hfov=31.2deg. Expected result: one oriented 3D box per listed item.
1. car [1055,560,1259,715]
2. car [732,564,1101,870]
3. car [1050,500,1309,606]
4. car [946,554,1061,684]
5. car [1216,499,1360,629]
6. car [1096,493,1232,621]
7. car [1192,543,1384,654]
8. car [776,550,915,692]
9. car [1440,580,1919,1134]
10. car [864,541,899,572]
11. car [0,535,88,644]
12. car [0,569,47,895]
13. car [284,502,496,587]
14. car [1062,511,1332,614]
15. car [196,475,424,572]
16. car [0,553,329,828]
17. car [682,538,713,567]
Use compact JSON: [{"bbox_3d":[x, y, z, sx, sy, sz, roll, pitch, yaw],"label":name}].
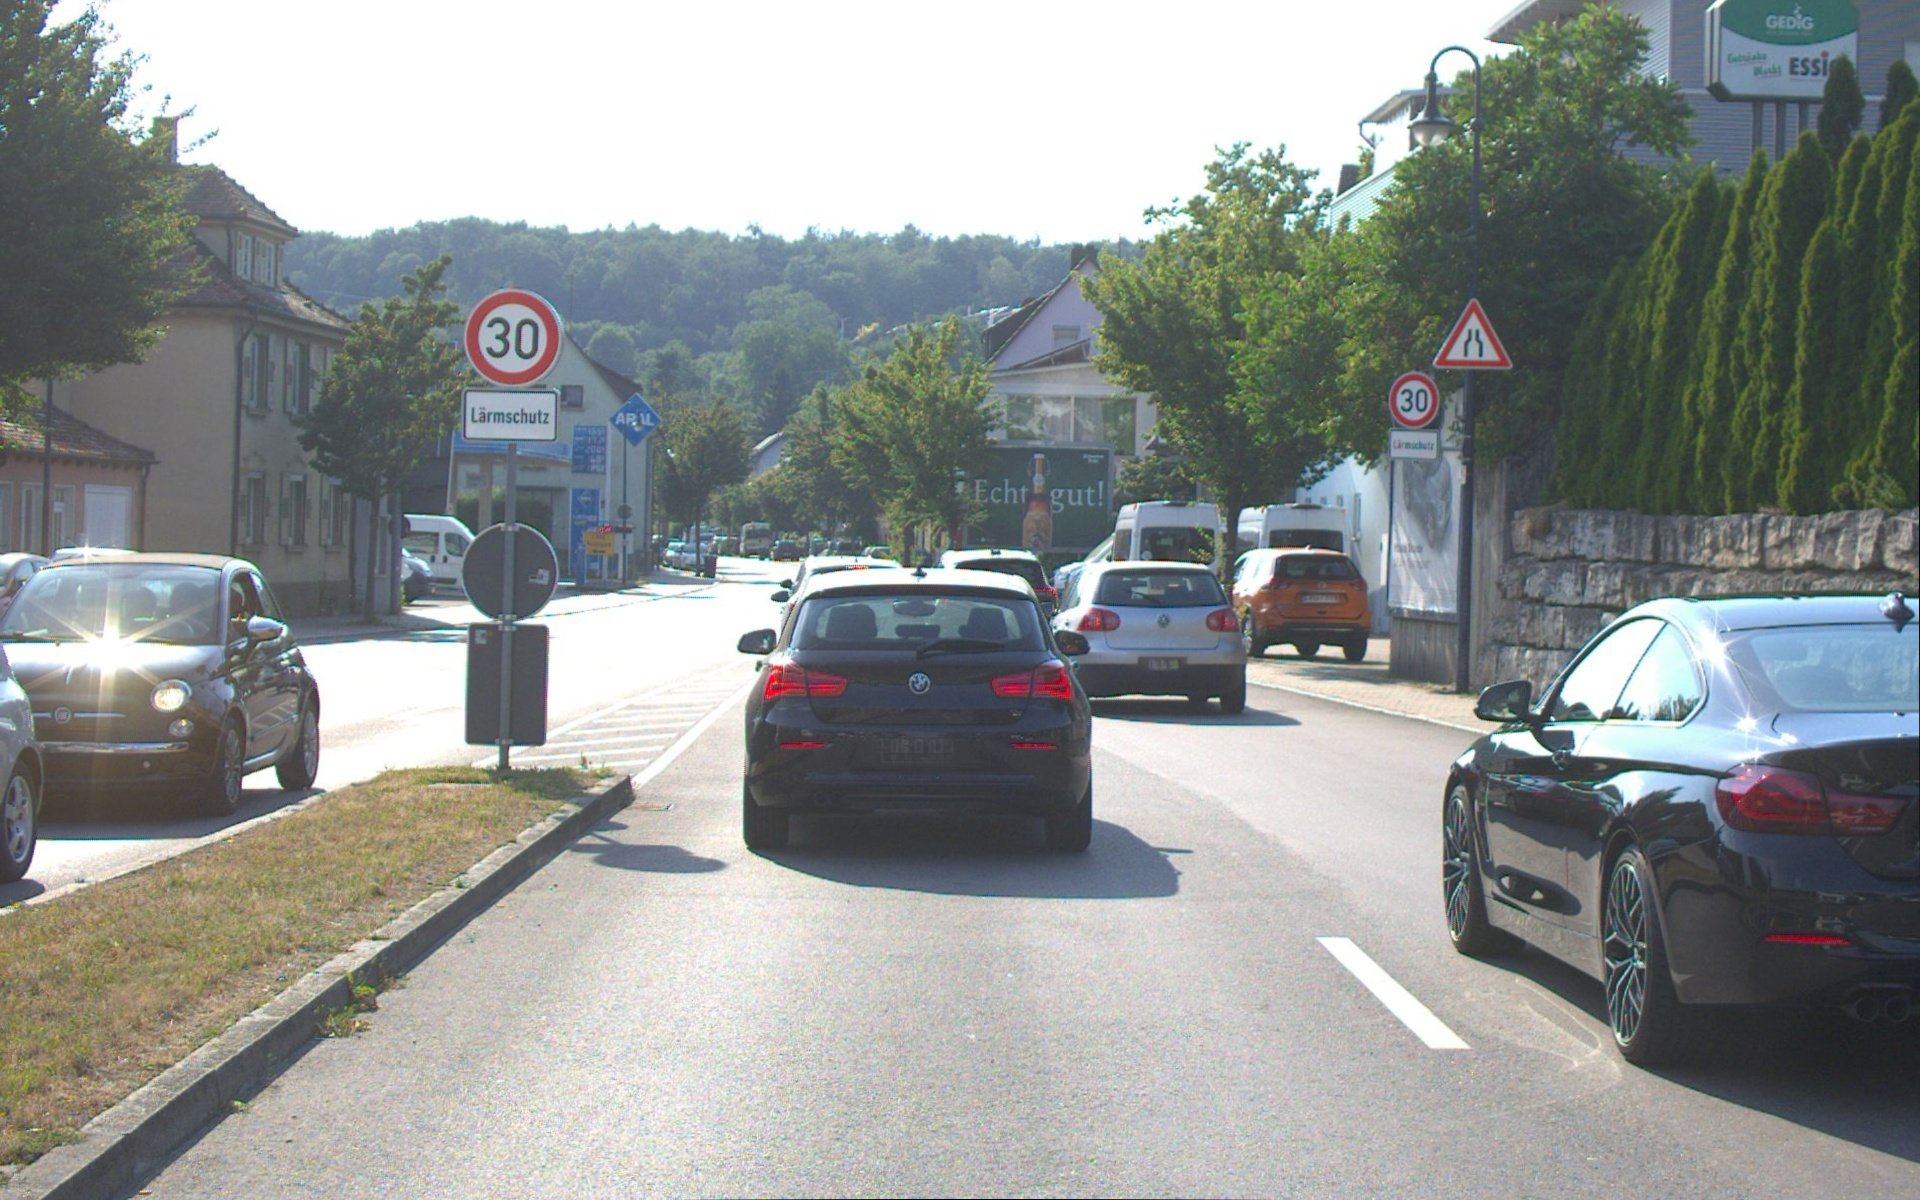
[{"bbox_3d":[1.894,0.334,33.970,1.753,1.409,3.422,0,1,-1],"label":"car"},{"bbox_3d":[-0.243,0.545,18.334,1.771,1.451,3.516,0,1,-1],"label":"car"},{"bbox_3d":[5.287,-1.139,83.285,6.043,2.507,2.044,0,1,-4],"label":"car"},{"bbox_3d":[0.606,0.242,49.714,1.603,1.761,3.411,0,1,0],"label":"car"},{"bbox_3d":[7.131,-0.831,75.503,2.111,2.712,6.444,0,1,-4],"label":"car"},{"bbox_3d":[4.400,-0.983,75.308,2.149,2.671,6.604,0,1,-4],"label":"car"},{"bbox_3d":[5.036,-0.062,53.360,1.834,1.643,4.540,0,1,-10],"label":"car"},{"bbox_3d":[-1.427,0.218,41.568,1.591,1.595,3.894,0,1,-3],"label":"car"},{"bbox_3d":[2.754,0.663,11.181,1.699,1.364,4.263,0,1,-1],"label":"car"},{"bbox_3d":[-3.927,-2.189,171.888,1.596,1.480,3.475,1,1,-3],"label":"car"},{"bbox_3d":[-14.133,-0.187,49.752,1.666,1.482,3.999,3,1,4],"label":"car"},{"bbox_3d":[-5.021,0.590,13.946,1.589,1.422,3.578,0,1,2],"label":"car"},{"bbox_3d":[-17.496,-1.714,105.824,6.158,2.436,2.250,1,1,-2],"label":"car"},{"bbox_3d":[5.502,-0.888,80.325,6.043,2.355,2.044,0,1,-4],"label":"car"},{"bbox_3d":[-18.135,-2.155,96.066,5.920,2.471,2.194,1,4,2],"label":"car"},{"bbox_3d":[-4.869,0.473,20.520,1.532,1.457,3.506,0,1,1],"label":"car"},{"bbox_3d":[-14.059,-2.560,184.285,1.596,1.480,3.475,1,1,-3],"label":"car"}]
